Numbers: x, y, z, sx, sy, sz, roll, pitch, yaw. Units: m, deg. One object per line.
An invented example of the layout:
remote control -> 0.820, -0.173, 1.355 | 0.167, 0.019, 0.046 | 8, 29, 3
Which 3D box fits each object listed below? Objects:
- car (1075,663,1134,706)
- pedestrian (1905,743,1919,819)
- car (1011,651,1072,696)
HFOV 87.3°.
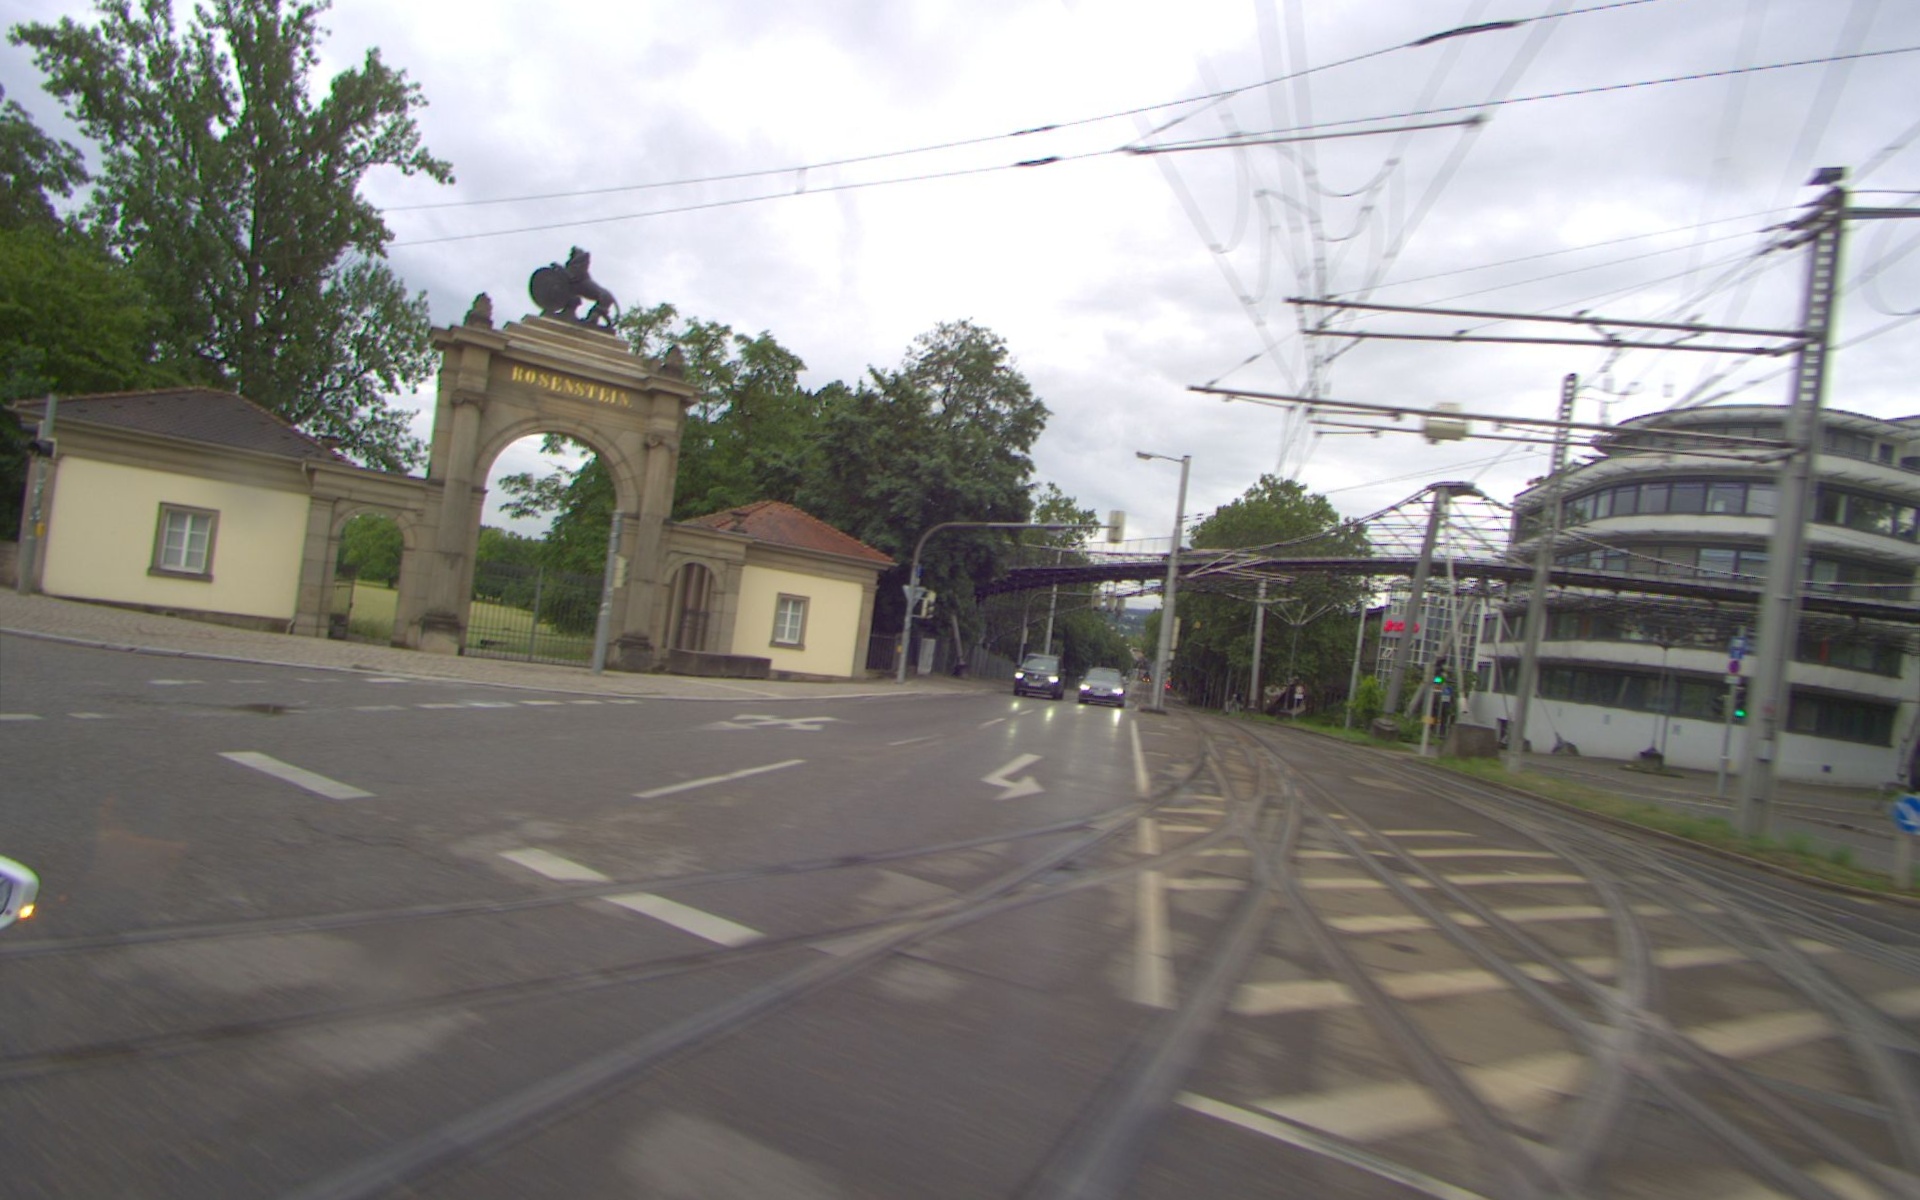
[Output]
car -> 5.848, 3.388, 40.378 | 1.962, 1.471, 4.270 | 5, -4, 12
pedestrian -> 20.503, 3.831, 21.041 | 0.795, 1.572, 0.655 | 4, -2, 18
car -> 3.402, 3.048, 41.295 | 1.962, 1.753, 4.270 | 0, -5, 12
